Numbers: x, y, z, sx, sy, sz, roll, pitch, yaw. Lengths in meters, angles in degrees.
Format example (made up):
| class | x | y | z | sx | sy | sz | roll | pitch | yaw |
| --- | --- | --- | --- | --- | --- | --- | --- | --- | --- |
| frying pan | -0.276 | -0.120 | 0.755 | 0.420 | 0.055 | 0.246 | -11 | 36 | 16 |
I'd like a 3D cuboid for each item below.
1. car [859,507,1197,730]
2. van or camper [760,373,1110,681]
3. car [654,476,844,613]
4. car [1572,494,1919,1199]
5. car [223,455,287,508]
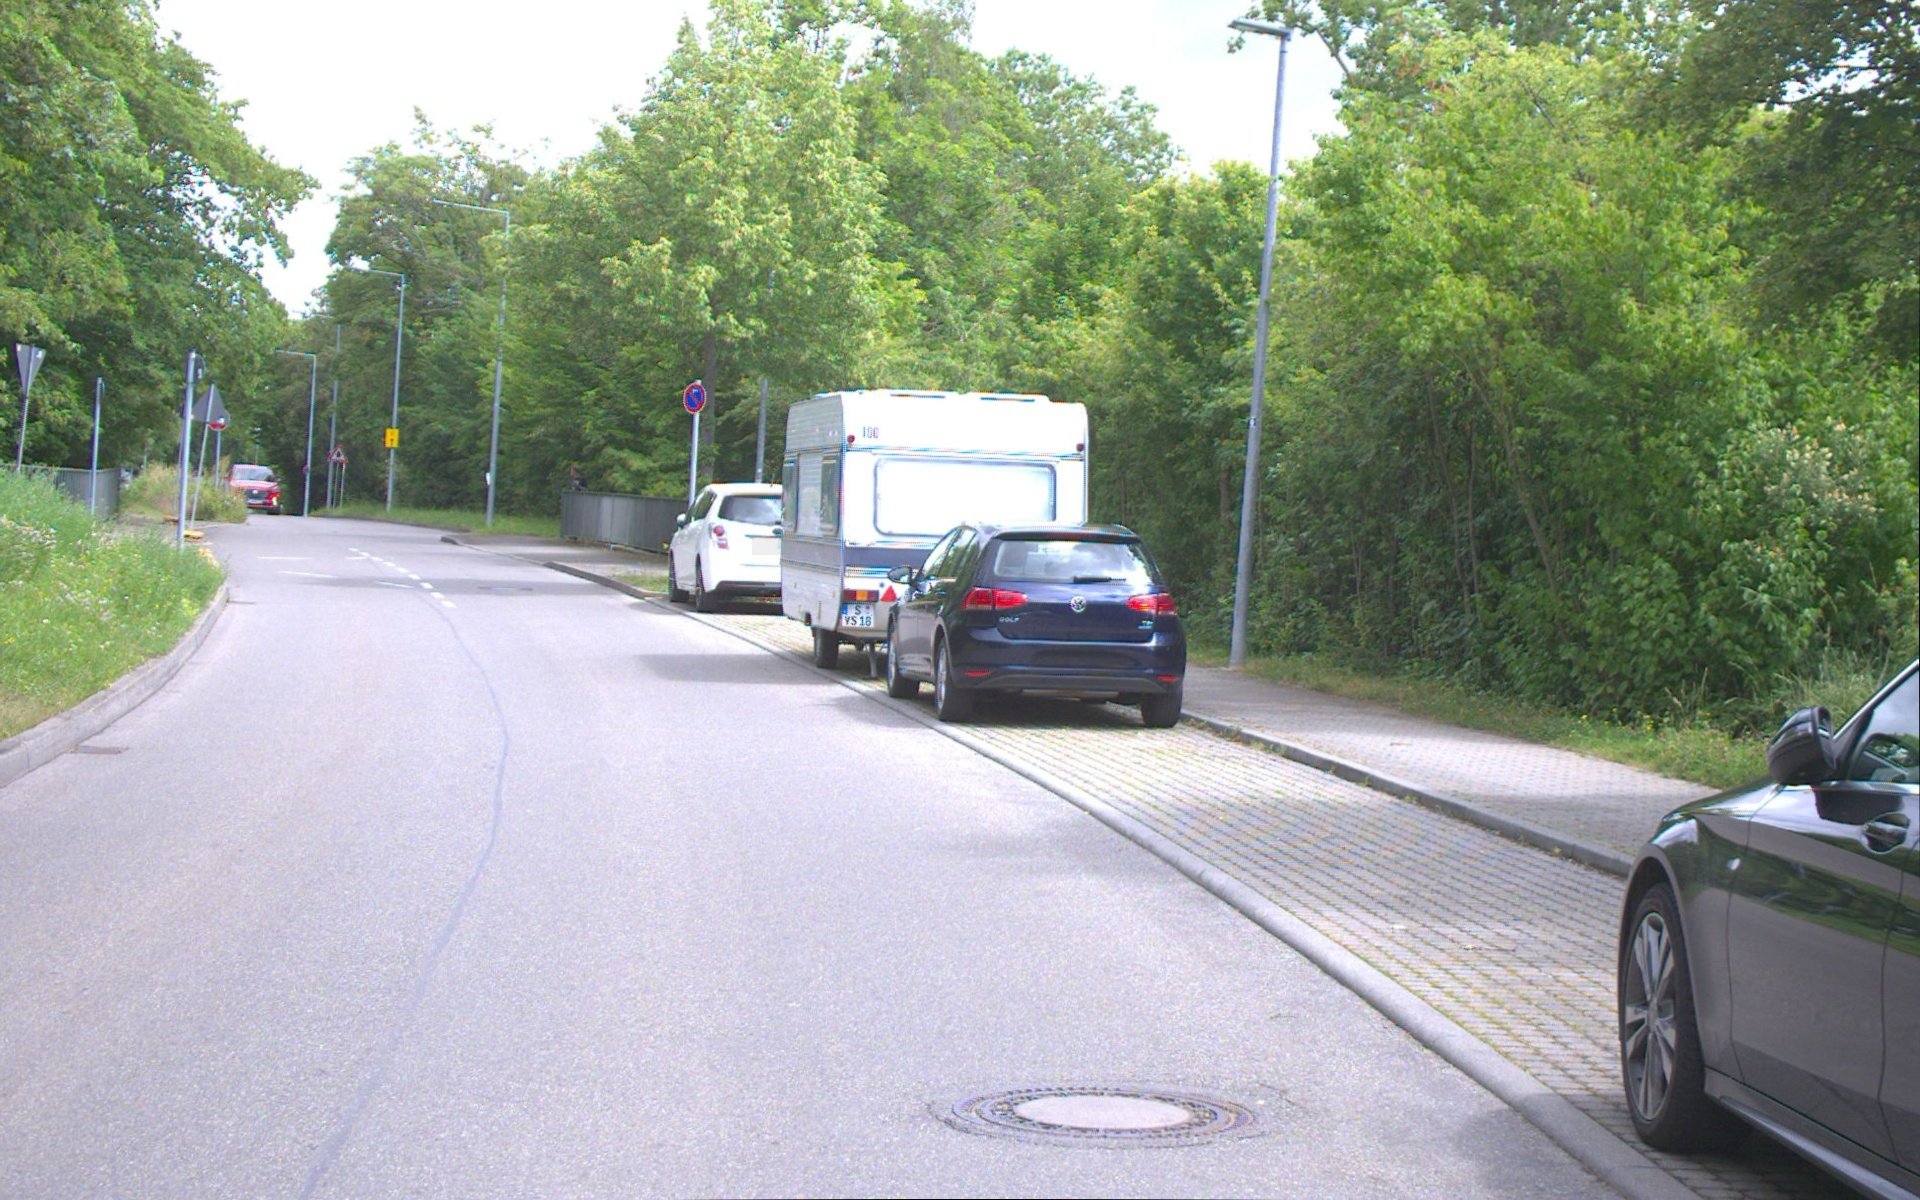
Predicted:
| class | x | y | z | sx | sy | sz | roll | pitch | yaw |
| --- | --- | --- | --- | --- | --- | --- | --- | --- | --- |
| car | 0.414 | 0.076 | 26.177 | 1.681 | 1.446 | 4.482 | 3 | 2 | -10 |
| van or camper | -0.349 | -0.697 | 31.725 | 2.354 | 2.545 | 5.076 | 1 | 2 | -10 |
| car | -2.775 | -0.753 | 44.322 | 1.804 | 1.594 | 4.373 | 2 | 2 | -12 |
| car | 2.648 | 0.617 | 6.635 | 1.893 | 1.524 | 4.547 | 3 | 2 | -2 |
| car | -23.991 | -4.048 | 116.913 | 1.842 | 1.653 | 4.223 | 2 | 2 | -15 |
